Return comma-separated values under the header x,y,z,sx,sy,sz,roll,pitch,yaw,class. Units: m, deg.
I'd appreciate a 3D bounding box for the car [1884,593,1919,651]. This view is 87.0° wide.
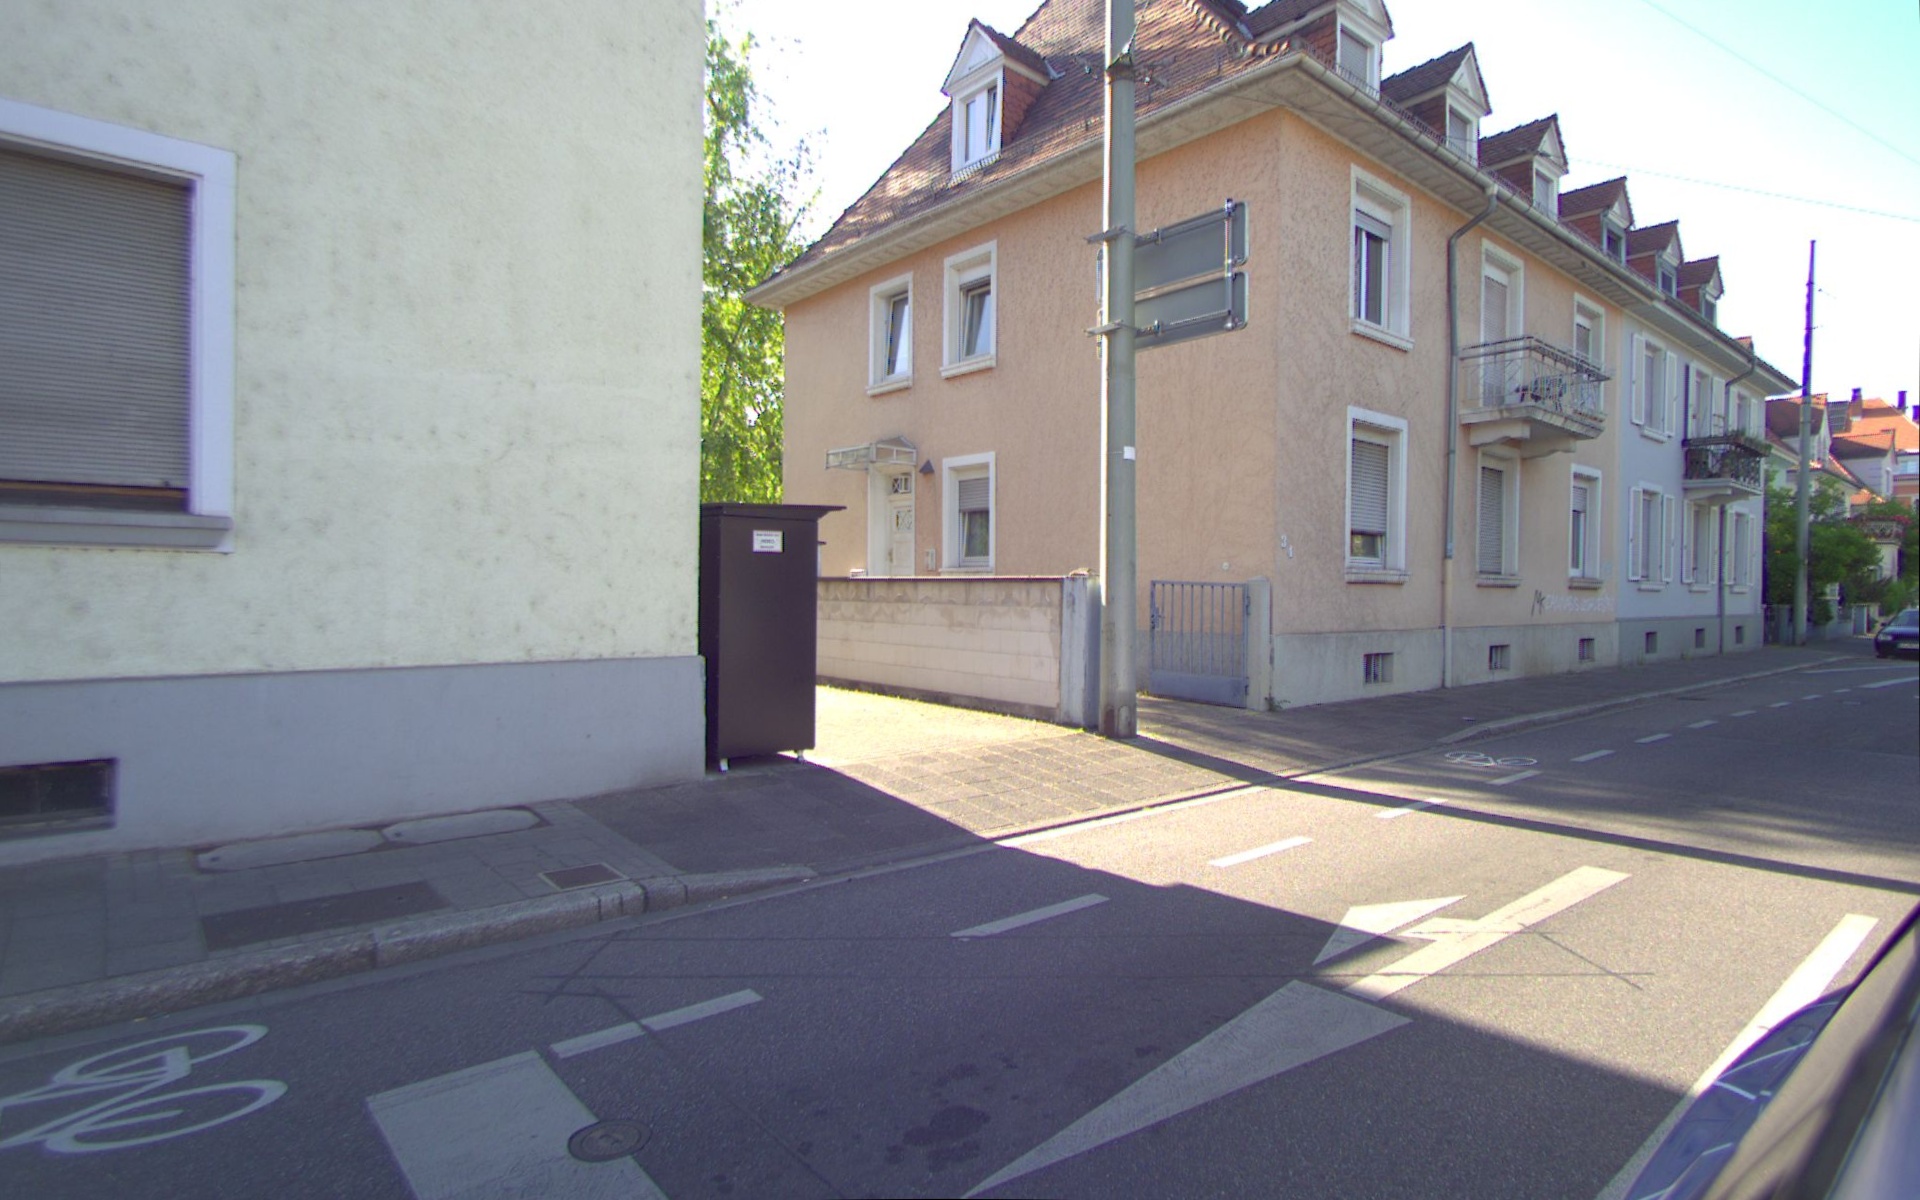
x,y,z,sx,sy,sz,roll,pitch,yaw,class
26.797,0.584,27.434,3.925,1.504,1.883,0,1,-37,car
